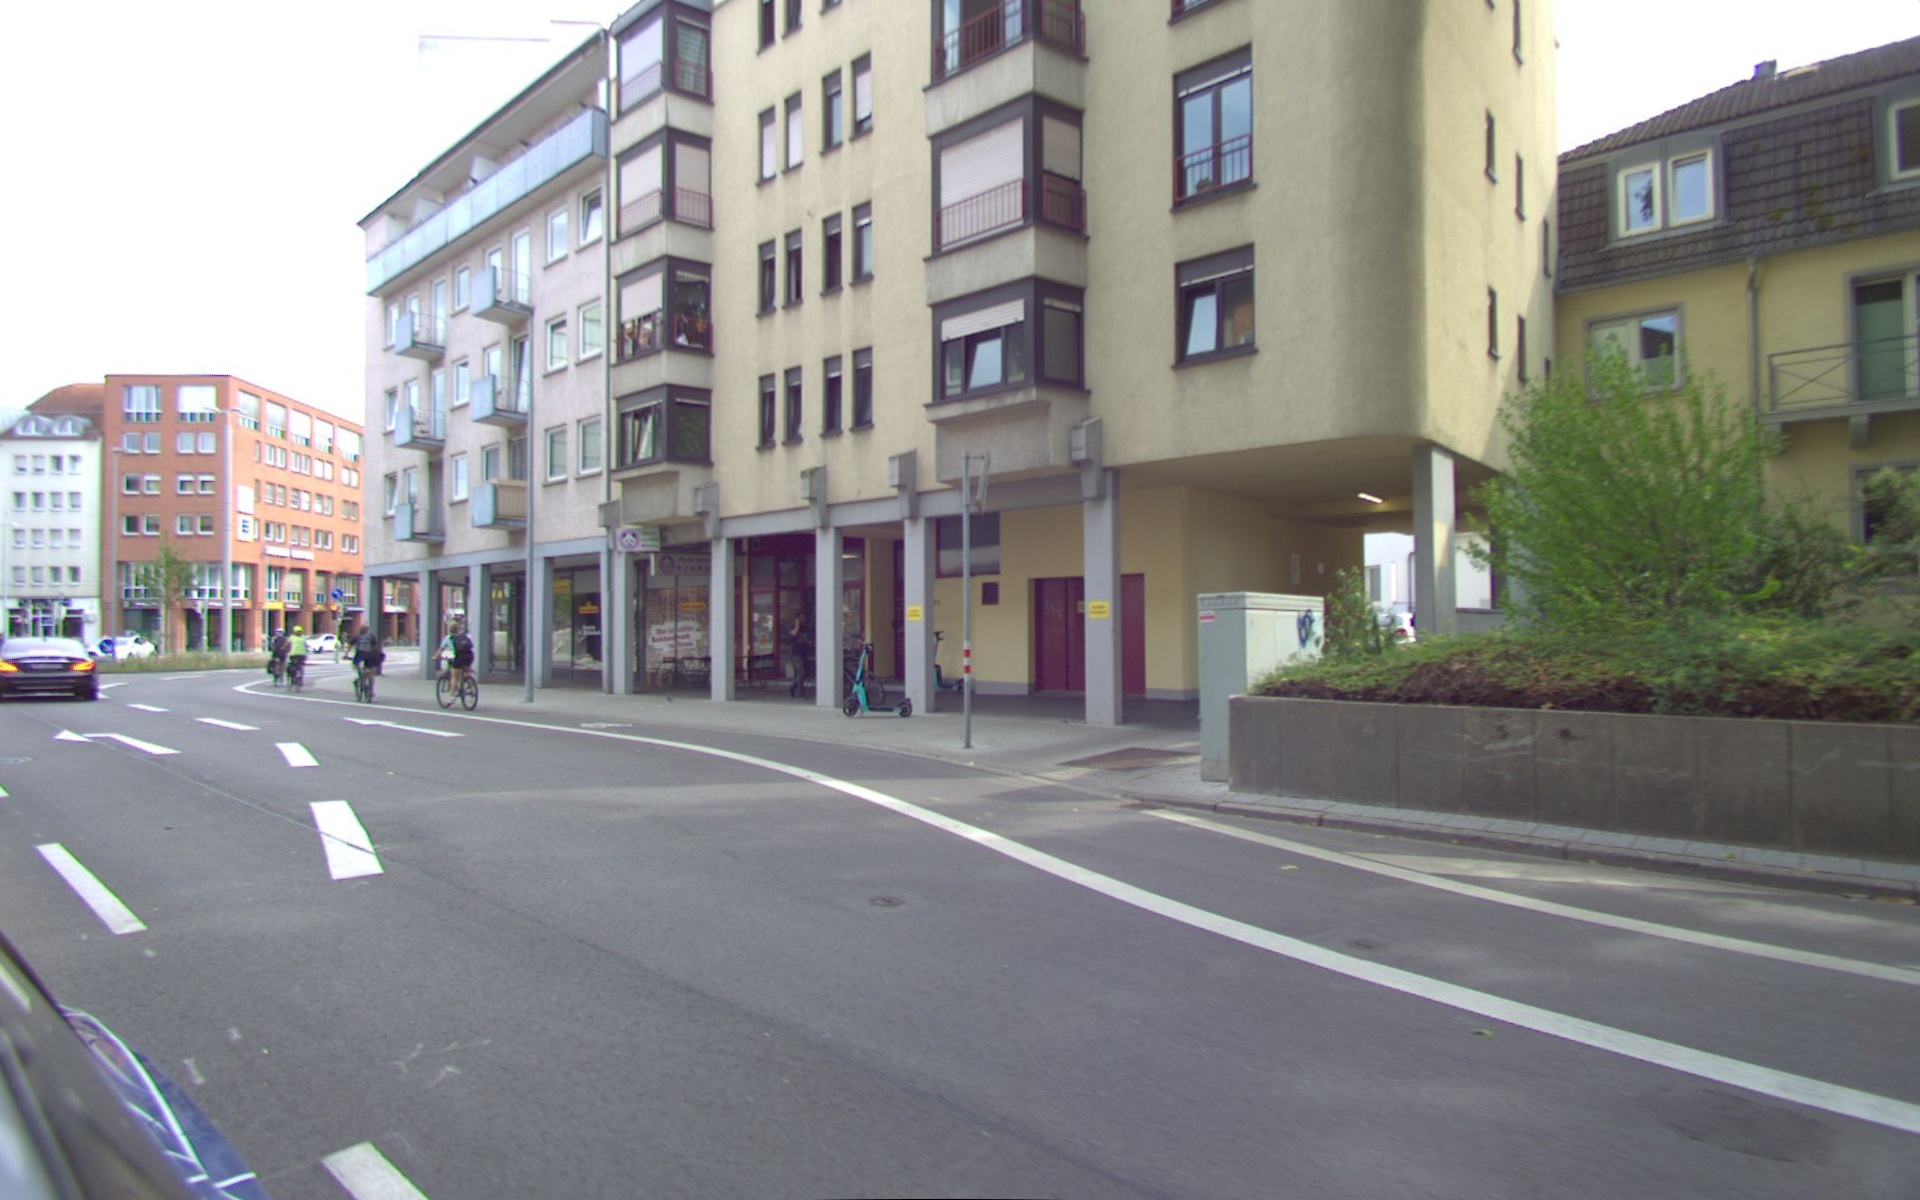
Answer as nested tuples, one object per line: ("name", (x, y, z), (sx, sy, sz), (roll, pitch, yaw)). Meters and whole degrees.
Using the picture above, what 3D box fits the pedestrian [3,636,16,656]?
("pedestrian", (-72.627, 3.529, 77.309), (0.628, 1.523, 0.586), (-3, -3, 34))

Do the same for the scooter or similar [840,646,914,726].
("scooter or similar", (-1.339, 1.392, 16.427), (1.162, 1.274, 0.286), (-1, -2, 5))

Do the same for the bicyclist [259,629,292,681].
("bicyclist", (-21.136, 1.680, 31.257), (0.649, 1.537, 1.003), (-1, 0, -44))

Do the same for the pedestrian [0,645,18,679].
("pedestrian", (-55.415, 3.620, 58.878), (0.710, 1.986, 1.015), (4, -6, -40))

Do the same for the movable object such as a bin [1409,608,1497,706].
("movable object such as a bin", (8.231, 0.938, 16.895), (1.065, 1.552, 1.131), (-2, -3, 39))

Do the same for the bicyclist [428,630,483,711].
("bicyclist", (-10.042, 1.396, 20.137), (0.649, 1.537, 1.077), (-1, -3, -44))

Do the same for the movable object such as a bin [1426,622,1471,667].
("movable object such as a bin", (16.296, 1.480, 33.755), (1.065, 1.460, 1.130), (-2, -3, 40))

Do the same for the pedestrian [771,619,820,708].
("pedestrian", (-3.349, 1.279, 20.618), (0.784, 1.770, 0.575), (-2, -1, 41))

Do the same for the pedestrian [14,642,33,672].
("pedestrian", (-59.422, 3.617, 64.231), (0.560, 1.838, 0.696), (-1, -3, -5))

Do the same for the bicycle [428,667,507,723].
("bicycle", (-9.883, 1.879, 20.264), (2.196, 1.014, 0.729), (-5, -2, 45))

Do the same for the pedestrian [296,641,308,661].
("pedestrian", (-57.152, 4.424, 87.932), (0.631, 1.700, 0.600), (-1, -3, -4))

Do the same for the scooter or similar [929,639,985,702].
("scooter or similar", (-0.065, 1.387, 20.002), (1.175, 1.211, 0.283), (-2, -3, 38))

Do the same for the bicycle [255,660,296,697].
("bicycle", (-21.161, 2.404, 31.260), (0.729, 1.014, 1.910), (1, 0, -44))

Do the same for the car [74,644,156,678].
("car", (-43.831, 3.133, 52.608), (1.925, 1.614, 4.012), (0, -2, -19))

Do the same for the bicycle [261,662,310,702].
("bicycle", (-18.613, 2.257, 27.905), (0.729, 1.014, 2.253), (-1, -2, -44))

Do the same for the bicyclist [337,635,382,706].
("bicyclist", (-13.528, 1.574, 22.787), (0.649, 1.537, 0.857), (-1, -3, -44))

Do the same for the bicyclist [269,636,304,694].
("bicyclist", (-18.612, 1.798, 27.963), (0.649, 1.537, 0.841), (-1, -3, -44))

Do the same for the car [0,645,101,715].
("car", (-20.963, 1.744, 22.867), (4.607, 1.418, 1.791), (-2, -3, 42))

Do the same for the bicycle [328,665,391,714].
("bicycle", (-13.616, 2.012, 22.926), (1.977, 1.014, 0.729), (-5, -2, 45))

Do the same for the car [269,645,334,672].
("car", (-49.593, 4.406, 76.313), (1.976, 1.893, 3.990), (-1, -2, 7))

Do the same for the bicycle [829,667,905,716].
("bicycle", (-1.729, 1.661, 18.629), (1.618, 0.827, 0.424), (-2, -3, 42))
